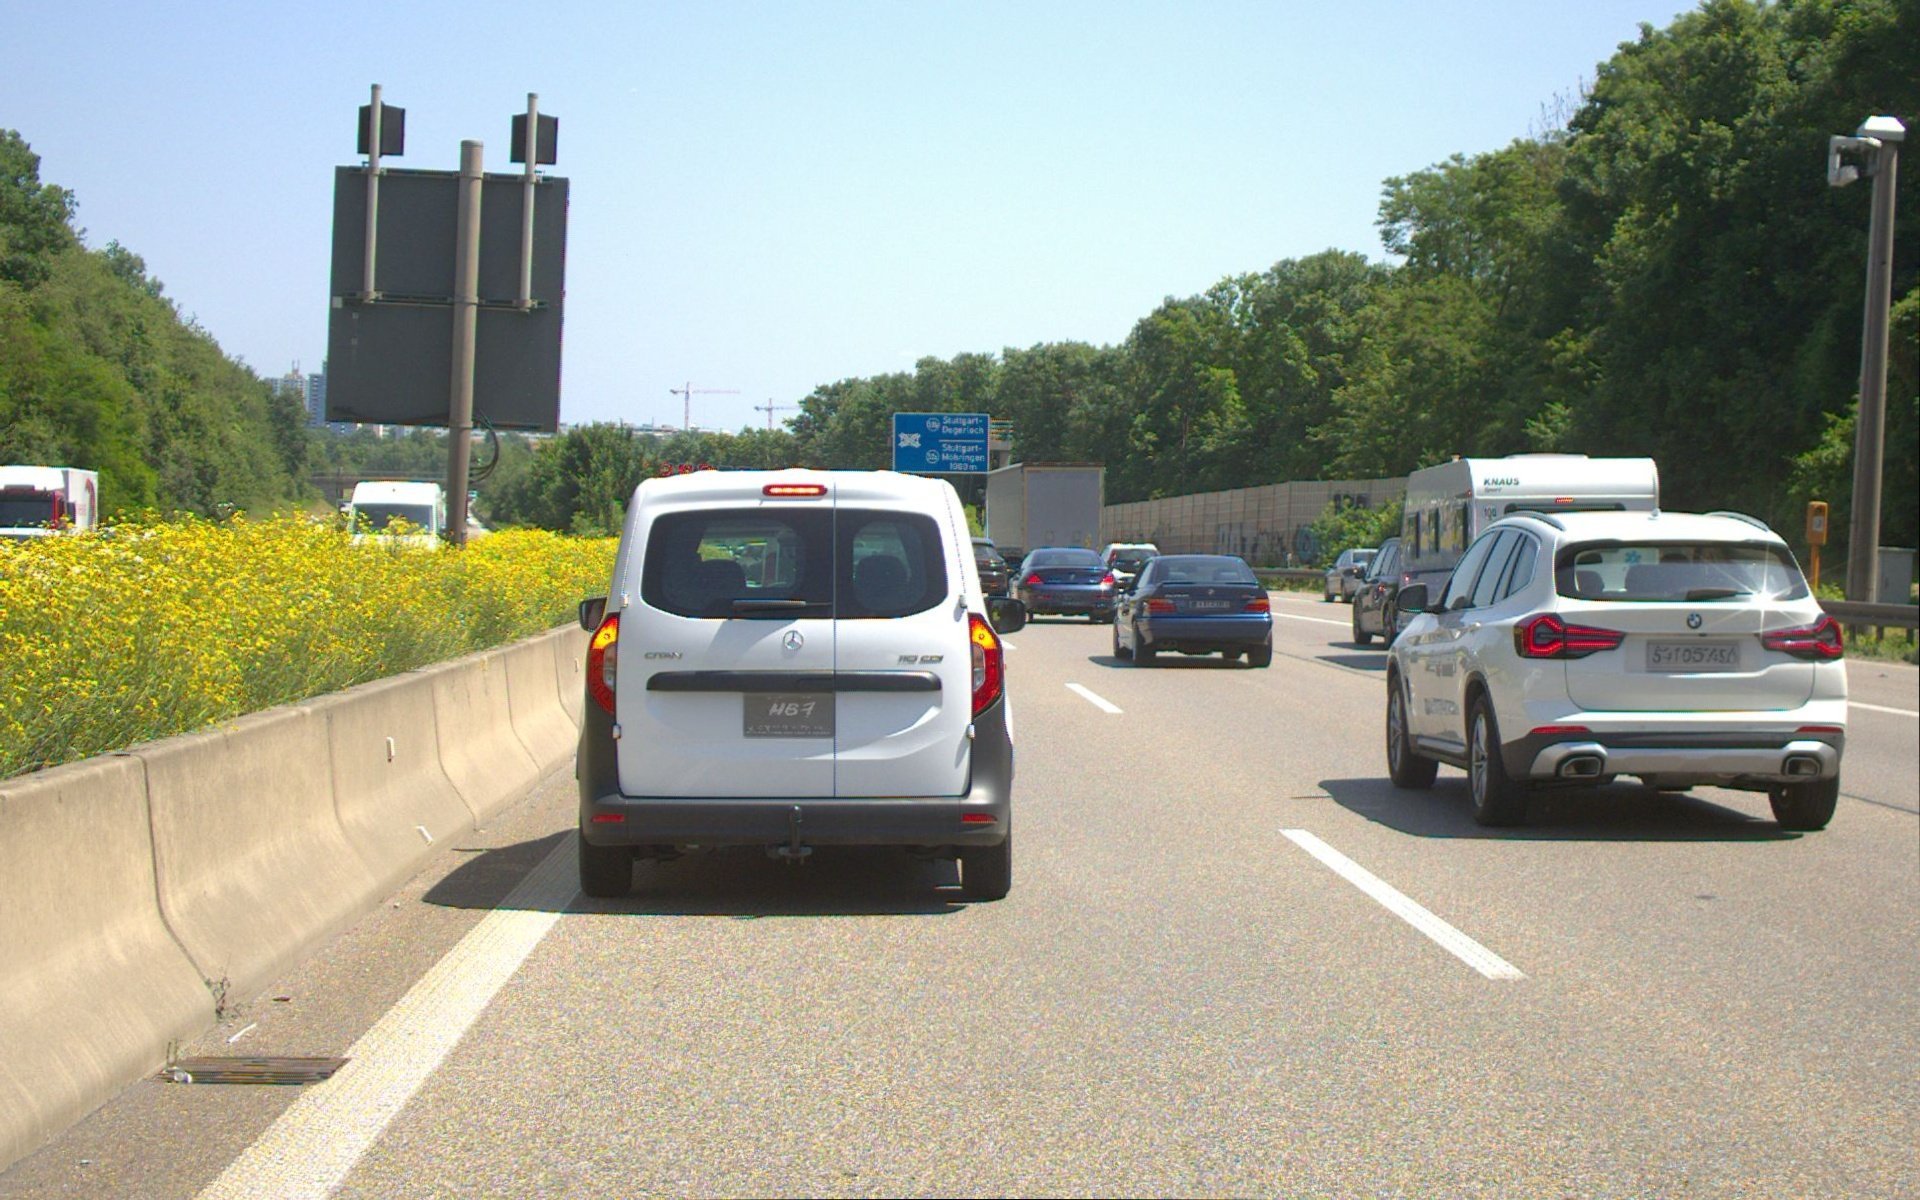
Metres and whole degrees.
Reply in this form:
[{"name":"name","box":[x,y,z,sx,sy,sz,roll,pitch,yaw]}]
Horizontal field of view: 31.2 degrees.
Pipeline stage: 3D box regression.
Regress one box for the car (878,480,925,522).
[{"name":"car","box":[-2.863,-4.843,167.987,1.993,2.007,4.001,0,1,-5]}]

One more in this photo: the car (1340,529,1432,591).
[{"name":"car","box":[10.835,-1.038,87.668,1.788,1.514,4.000,1,1,-1]}]

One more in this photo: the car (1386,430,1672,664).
[{"name":"car","box":[7.167,-0.696,44.078,2.479,2.756,6.220,1,1,-1]}]

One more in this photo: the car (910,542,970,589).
[{"name":"car","box":[-0.653,-1.117,109.192,1.824,1.442,4.000,1,1,-1]}]

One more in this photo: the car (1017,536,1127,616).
[{"name":"car","box":[2.053,-0.476,64.104,1.824,1.419,4.000,1,1,-1]}]

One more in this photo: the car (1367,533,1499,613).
[{"name":"car","box":[8.802,-0.533,64.233,1.824,1.419,4.000,1,1,-1]}]

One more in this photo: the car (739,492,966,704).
[{"name":"car","box":[-0.995,-0.058,32.556,1.993,1.853,4.000,1,1,-1]}]

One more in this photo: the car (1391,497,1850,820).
[{"name":"car","box":[3.569,0.254,19.265,1.871,1.603,3.879,1,1,1]}]

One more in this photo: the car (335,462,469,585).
[{"name":"car","box":[-12.014,-1.652,74.360,1.993,2.533,5.909,1,1,-1]}]

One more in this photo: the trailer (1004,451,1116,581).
[{"name":"trailer","box":[3.136,-2.706,111.221,3.082,3.972,10.324,1,1,-1]}]

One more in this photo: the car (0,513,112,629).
[{"name":"car","box":[-13.461,-0.440,48.645,1.993,1.569,4.000,1,1,-1]}]

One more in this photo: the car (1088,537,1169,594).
[{"name":"car","box":[4.377,-0.912,89.723,1.824,1.419,4.000,1,1,-1]}]

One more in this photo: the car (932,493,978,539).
[{"name":"car","box":[-0.225,-3.729,153.174,1.993,2.007,4.000,1,1,-1]}]

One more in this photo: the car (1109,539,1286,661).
[{"name":"car","box":[2.897,-0.034,42.690,1.824,1.419,4.000,1,1,-1]}]

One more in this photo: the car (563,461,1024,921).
[{"name":"car","box":[-0.718,0.319,15.605,1.802,1.802,4.001,1,1,-2]}]

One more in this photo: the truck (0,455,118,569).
[{"name":"truck","box":[-25.214,-2.422,94.838,2.406,2.995,7.460,1,1,-2]}]

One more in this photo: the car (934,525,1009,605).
[{"name":"car","box":[0.272,-0.918,88.017,1.824,1.982,4.000,1,1,-1]}]
